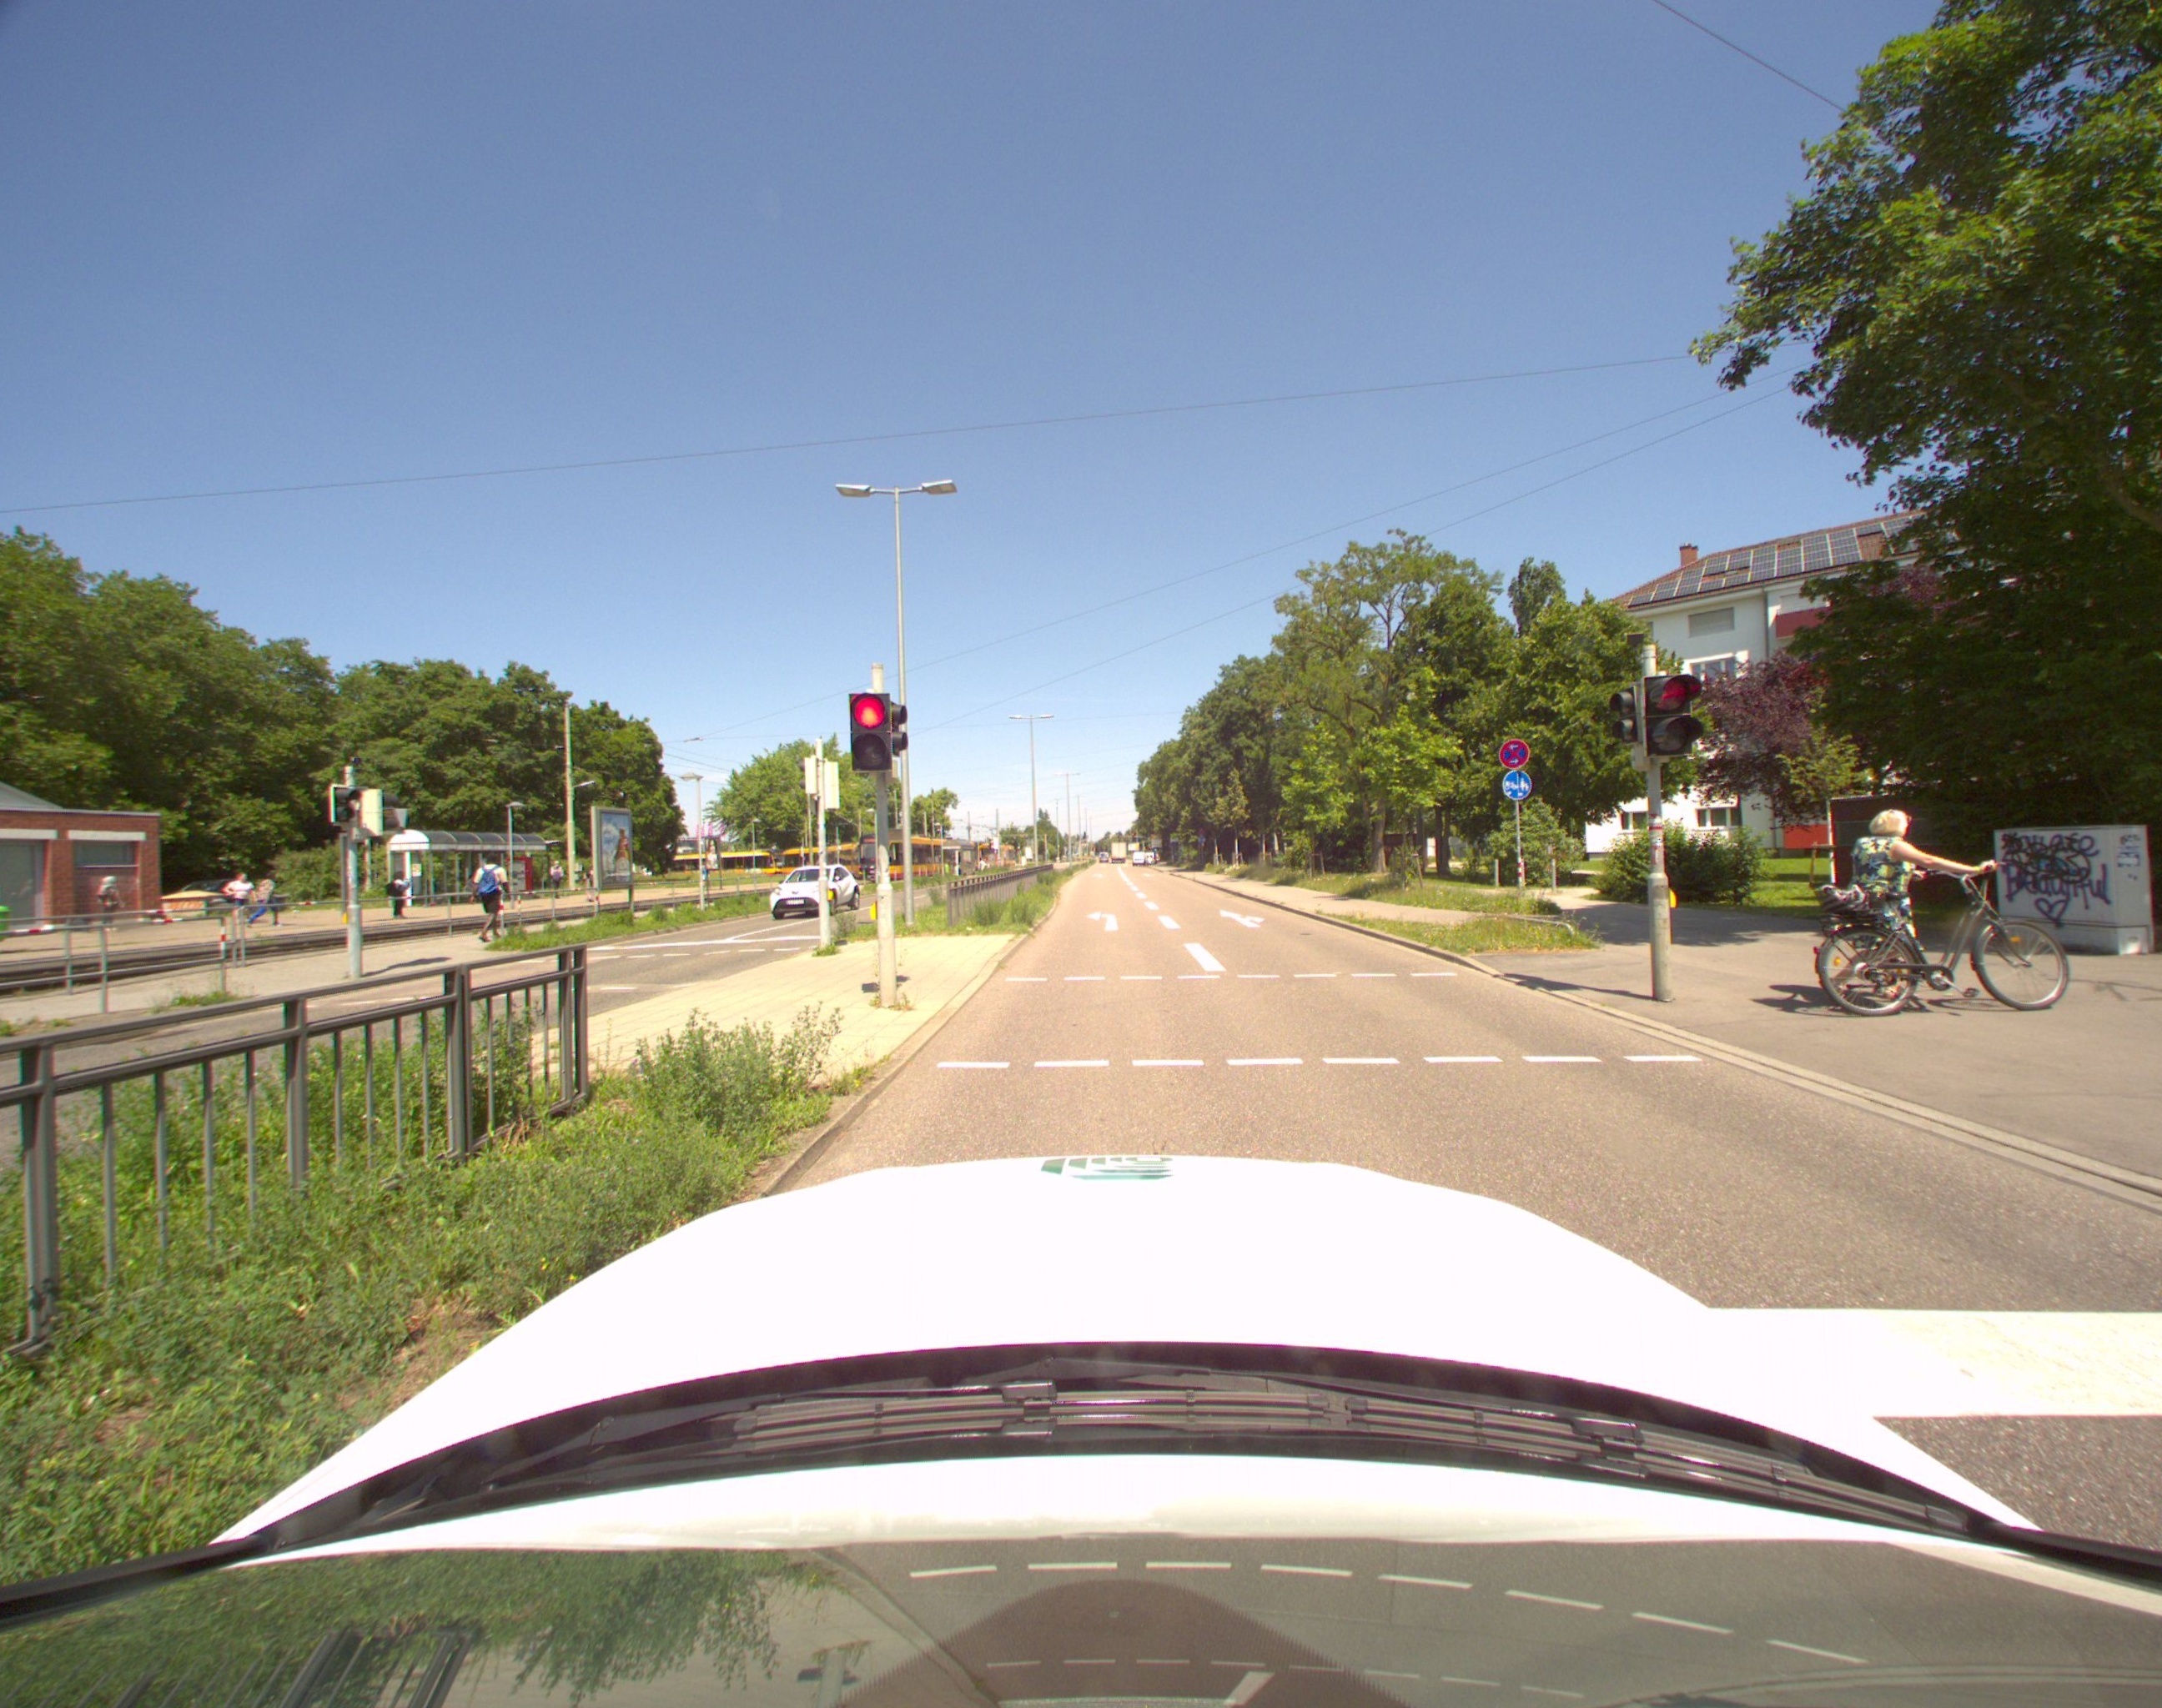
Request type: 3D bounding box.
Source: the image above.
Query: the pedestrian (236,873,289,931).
[{"bbox_3d":[-23.483,1.357,23.371,0.669,1.590,0.808,-2,0,1],"label":"pedestrian"}]

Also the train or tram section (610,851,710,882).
[{"bbox_3d":[-57.948,1.800,111.707,18.260,3.931,3.247,-2,0,32],"label":"train or tram section"}]

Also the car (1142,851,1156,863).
[{"bbox_3d":[9.895,0.465,118.760,1.773,1.668,4.002,-2,0,2],"label":"car"}]

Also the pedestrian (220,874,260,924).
[{"bbox_3d":[-25.256,1.354,24.455,0.634,1.456,0.585,-2,0,16],"label":"pedestrian"}]

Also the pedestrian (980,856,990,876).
[{"bbox_3d":[-9.919,1.241,84.062,0.812,2.013,0.939,-2,0,1],"label":"pedestrian"}]

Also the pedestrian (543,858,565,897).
[{"bbox_3d":[-25.107,1.099,38.785,0.725,1.800,0.835,-1,-1,-41],"label":"pedestrian"}]

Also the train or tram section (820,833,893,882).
[{"bbox_3d":[-20.997,0.375,74.941,3.232,3.931,18.343,-1,0,-25],"label":"train or tram section"}]

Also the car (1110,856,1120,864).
[{"bbox_3d":[6.472,1.150,153.686,1.804,1.464,4.002,-2,0,2],"label":"car"}]

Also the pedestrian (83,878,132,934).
[{"bbox_3d":[-26.682,1.419,22.328,0.636,1.480,0.570,-2,0,1],"label":"pedestrian"}]

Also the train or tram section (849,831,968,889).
[{"bbox_3d":[-13.392,0.415,68.447,2.947,3.749,30.037,-2,0,1],"label":"train or tram section"}]

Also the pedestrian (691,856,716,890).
[{"bbox_3d":[-22.997,1.166,49.681,0.977,2.013,1.021,-2,0,1],"label":"pedestrian"}]

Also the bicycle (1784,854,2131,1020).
[{"bbox_3d":[6.907,0.648,6.493,1.947,1.161,0.542,-4,0,7],"label":"bicycle"}]

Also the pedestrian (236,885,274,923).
[{"bbox_3d":[-25.705,1.554,25.340,0.634,1.124,0.572,-2,0,16],"label":"pedestrian"}]

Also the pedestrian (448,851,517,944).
[{"bbox_3d":[-12.168,0.863,16.576,0.715,1.777,0.843,3,2,1],"label":"pedestrian"}]

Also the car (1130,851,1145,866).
[{"bbox_3d":[7.286,0.565,105.537,1.773,1.903,4.002,-2,0,2],"label":"car"}]

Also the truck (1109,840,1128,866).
[{"bbox_3d":[6.757,-0.164,146.134,3.193,4.359,6.563,-2,0,2],"label":"truck"}]

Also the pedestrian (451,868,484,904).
[{"bbox_3d":[-26.288,1.371,34.891,0.836,1.511,0.723,-2,0,12],"label":"pedestrian"}]

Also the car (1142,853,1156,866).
[{"bbox_3d":[9.372,0.722,112.336,1.773,1.668,4.002,-2,0,2],"label":"car"}]

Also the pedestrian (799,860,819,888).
[{"bbox_3d":[-19.557,1.437,58.538,0.977,2.013,1.021,-2,0,1],"label":"pedestrian"}]

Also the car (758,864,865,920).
[{"bbox_3d":[-8.108,1.091,24.868,1.838,1.494,3.793,-2,0,2],"label":"car"}]

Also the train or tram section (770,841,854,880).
[{"bbox_3d":[-30.286,0.815,90.665,3.241,3.931,18.294,-1,0,-36],"label":"train or tram section"}]

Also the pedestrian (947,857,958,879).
[{"bbox_3d":[-10.987,1.201,69.725,0.783,1.868,0.818,-2,0,1],"label":"pedestrian"}]

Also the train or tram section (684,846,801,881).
[{"bbox_3d":[-42.702,1.225,102.132,18.261,3.931,3.246,-2,0,31],"label":"train or tram section"}]

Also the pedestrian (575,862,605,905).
[{"bbox_3d":[-21.220,1.249,35.179,0.715,1.777,0.843,3,2,1],"label":"pedestrian"}]

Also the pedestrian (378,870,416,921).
[{"bbox_3d":[-21.545,1.290,25.658,0.635,1.555,0.691,-2,0,-11],"label":"pedestrian"}]

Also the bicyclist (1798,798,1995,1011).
[{"bbox_3d":[6.837,0.411,6.869,0.952,1.667,0.581,-4,0,7],"label":"bicyclist"}]

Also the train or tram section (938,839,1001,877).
[{"bbox_3d":[-13.042,0.430,99.900,2.921,3.789,33.085,-2,0,0],"label":"train or tram section"}]

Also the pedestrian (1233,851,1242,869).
[{"bbox_3d":[12.572,0.487,65.428,0.600,1.438,0.557,-2,0,8],"label":"pedestrian"}]

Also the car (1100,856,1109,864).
[{"bbox_3d":[4.543,1.177,158.003,1.804,1.464,4.002,-2,0,2],"label":"car"}]

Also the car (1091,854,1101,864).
[{"bbox_3d":[3.309,1.103,175.329,1.986,2.013,4.002,-2,0,2],"label":"car"}]
